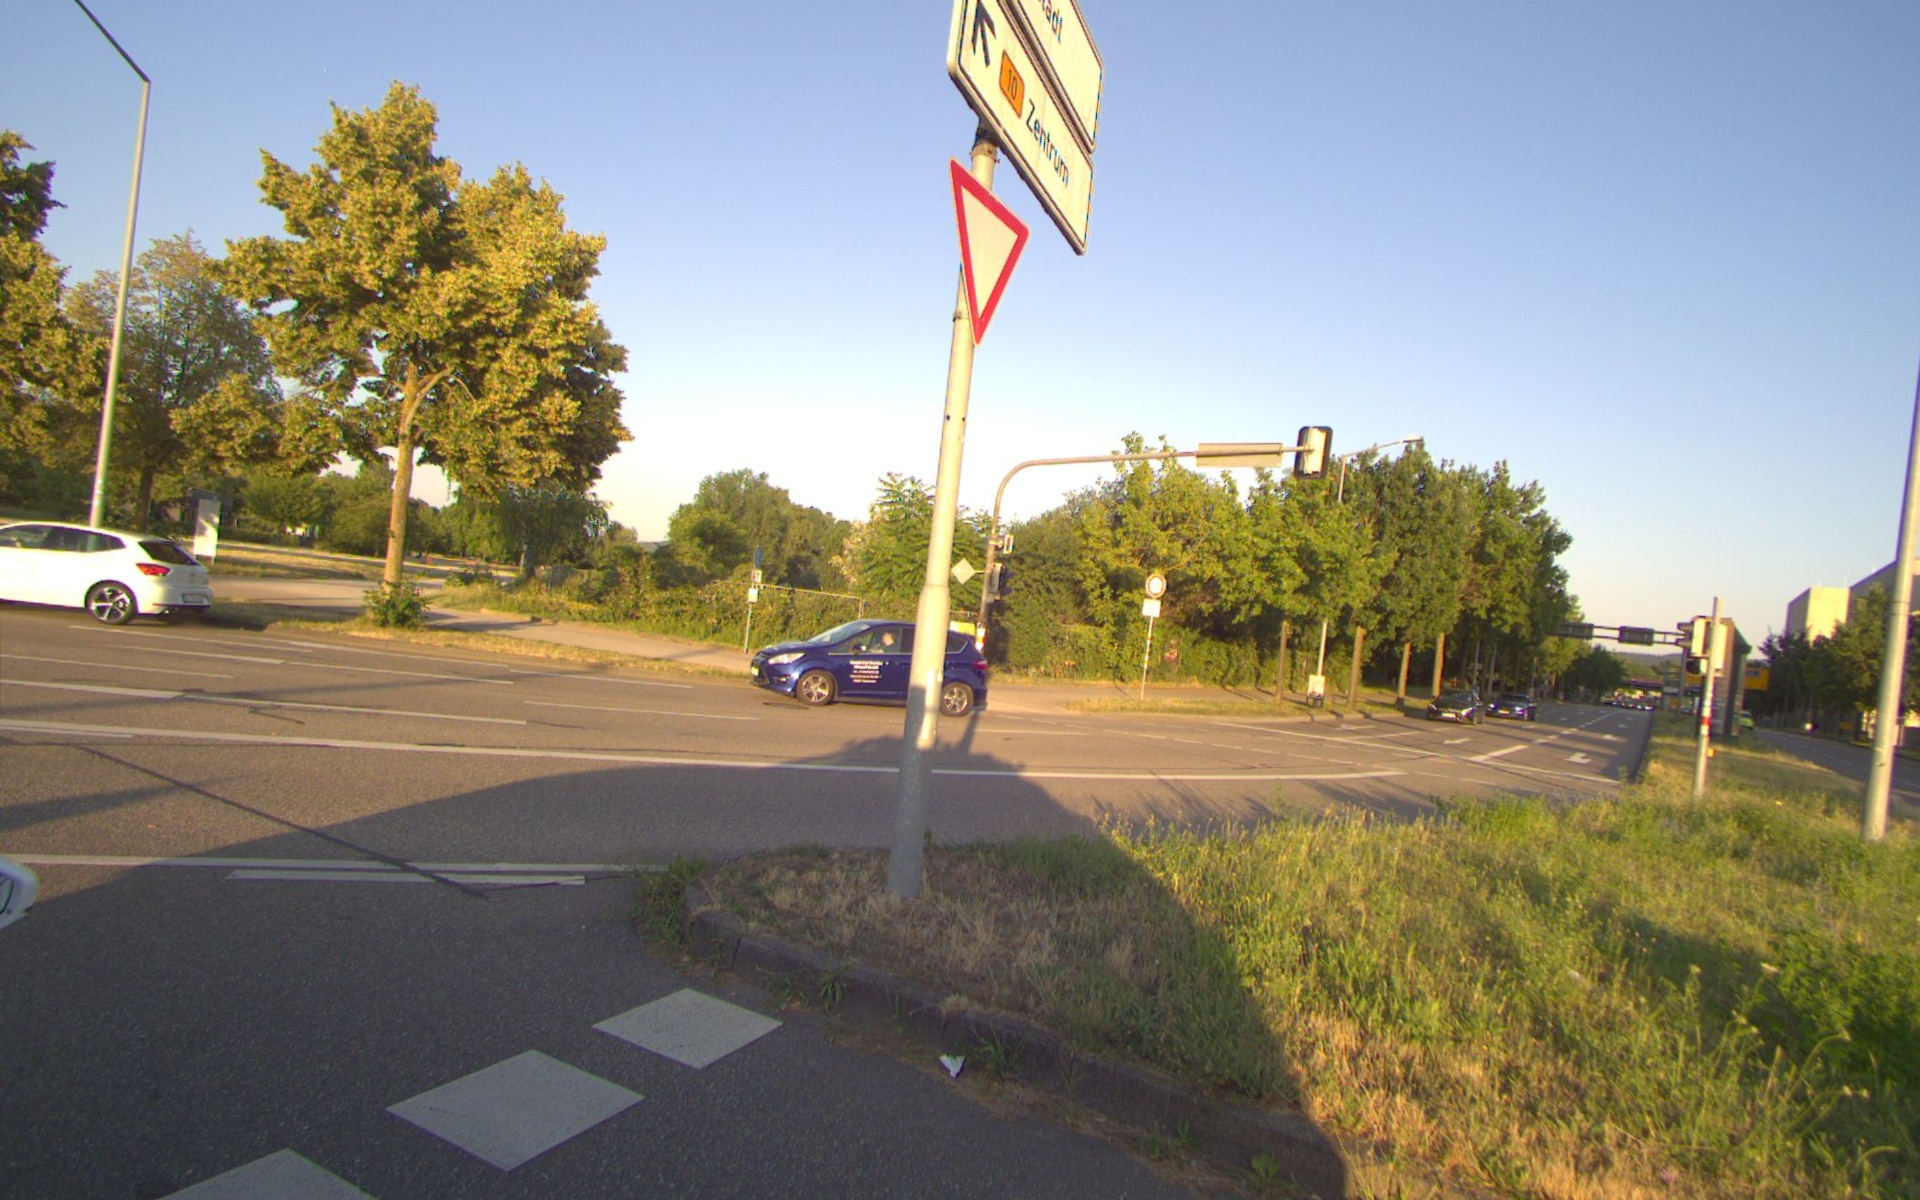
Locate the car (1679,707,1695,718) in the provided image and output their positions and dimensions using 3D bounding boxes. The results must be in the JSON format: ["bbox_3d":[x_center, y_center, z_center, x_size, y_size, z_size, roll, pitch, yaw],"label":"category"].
[{"bbox_3d":[127.253,19.661,176.136,1.968,1.648,3.991,7,-1,33],"label":"car"}]

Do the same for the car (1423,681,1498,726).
[{"bbox_3d":[21.439,4.432,43.020,1.969,1.523,4.606,7,-1,37],"label":"car"}]

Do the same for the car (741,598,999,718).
[{"bbox_3d":[-1.623,1.050,18.220,4.130,1.602,1.904,8,-1,-26],"label":"car"}]

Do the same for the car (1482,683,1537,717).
[{"bbox_3d":[29.721,5.405,54.375,1.969,1.523,4.758,7,-1,35],"label":"car"}]

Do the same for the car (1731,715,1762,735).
[{"bbox_3d":[68.953,10.913,88.259,1.662,1.437,3.991,6,-1,33],"label":"car"}]

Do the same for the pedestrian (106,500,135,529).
[{"bbox_3d":[-53.285,-5.410,63.841,0.896,1.637,1.070,7,0,34],"label":"pedestrian"}]

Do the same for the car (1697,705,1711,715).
[{"bbox_3d":[144.291,21.380,195.101,1.968,1.648,3.990,7,-1,34],"label":"car"}]

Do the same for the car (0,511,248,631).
[{"bbox_3d":[-13.954,-0.509,15.850,3.905,1.471,1.865,7,-1,-10],"label":"car"}]

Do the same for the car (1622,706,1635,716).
[{"bbox_3d":[139.106,23.050,209.502,1.967,1.801,3.994,6,-2,32],"label":"car"}]

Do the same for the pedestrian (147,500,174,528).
[{"bbox_3d":[-52.041,-5.572,65.484,0.896,1.637,1.070,7,0,34],"label":"pedestrian"}]
